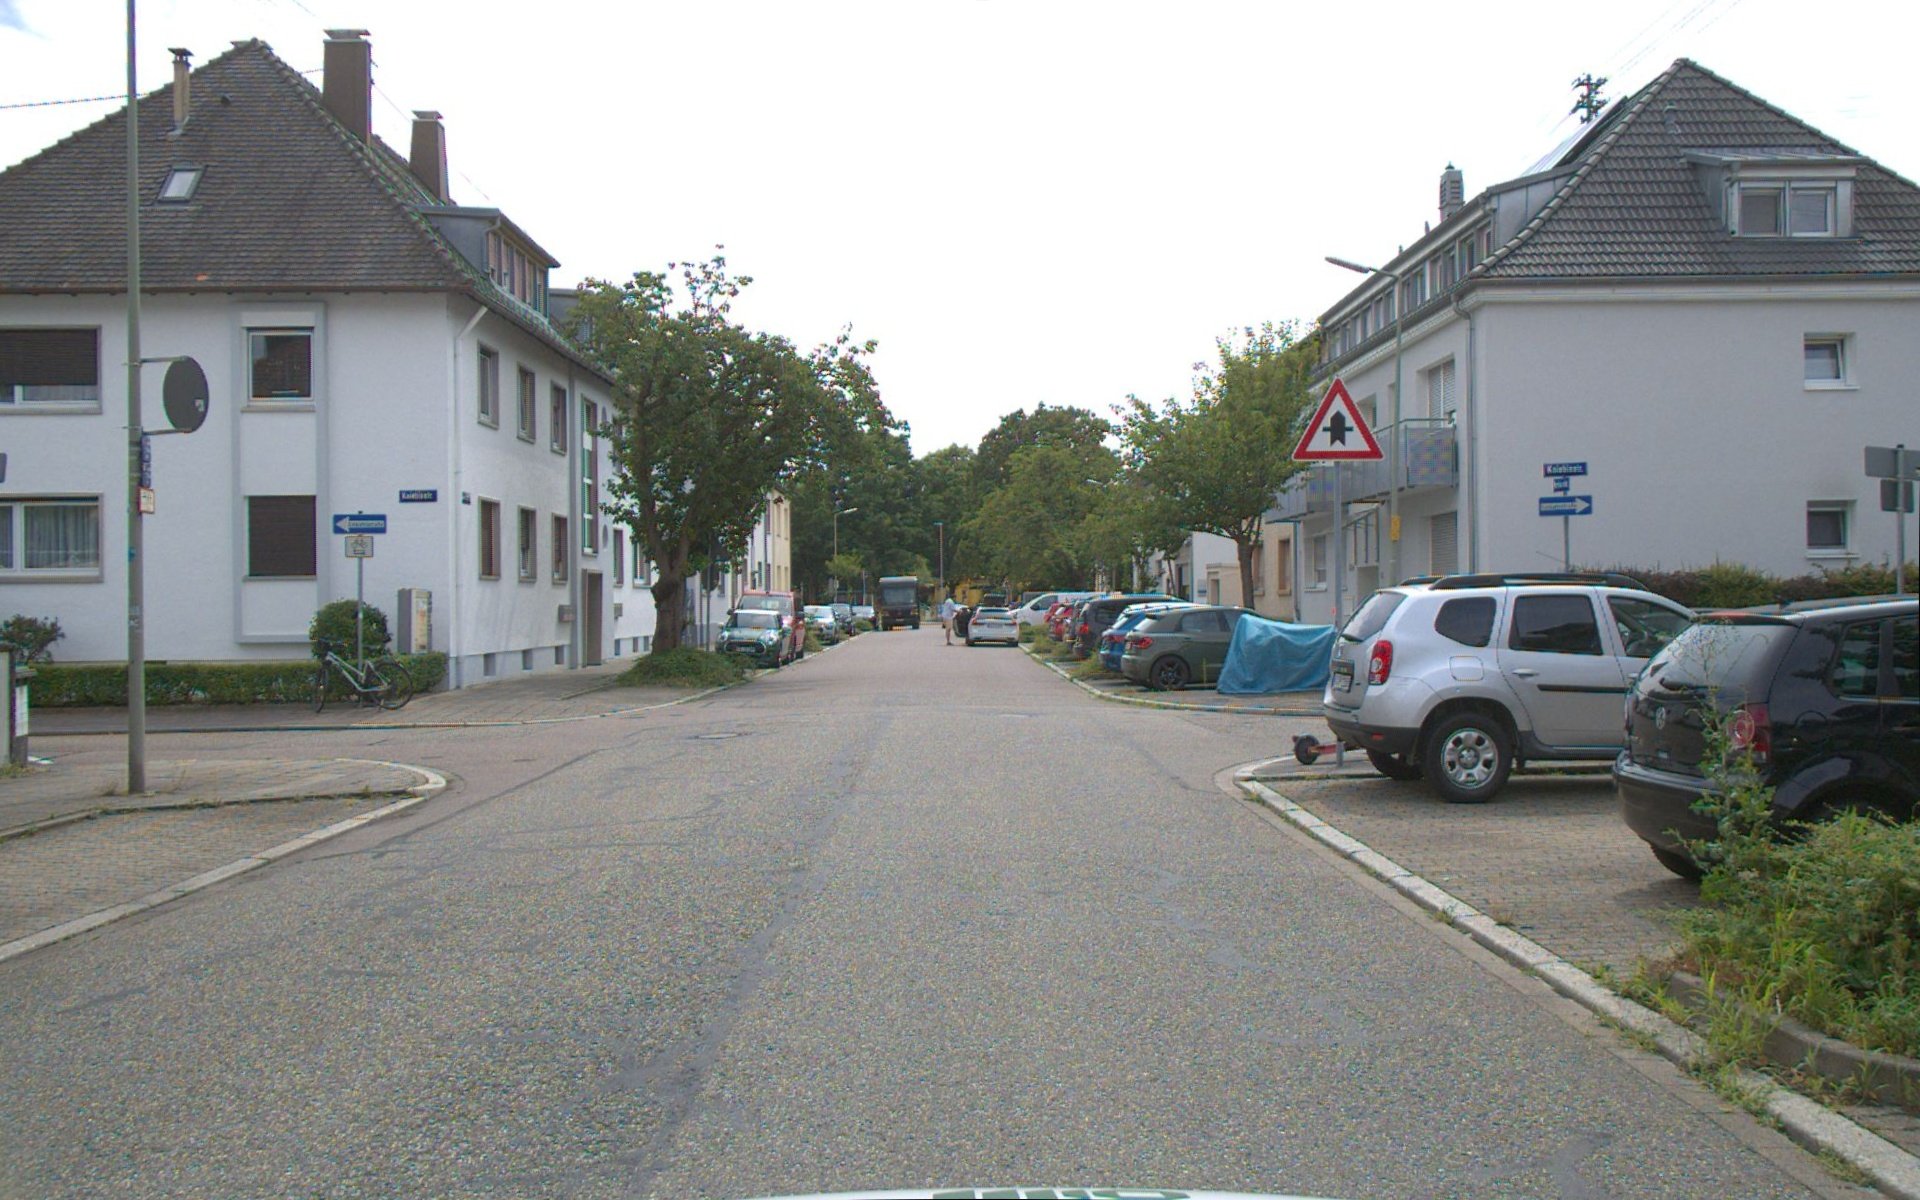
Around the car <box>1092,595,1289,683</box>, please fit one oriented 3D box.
[{"bbox_3d":[4.309,0.716,31.231,3.446,1.437,1.558,-3,0,0],"label":"car"}]

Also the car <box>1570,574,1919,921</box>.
[{"bbox_3d":[5.280,0.576,8.092,3.906,1.446,1.712,-3,0,0],"label":"car"}]

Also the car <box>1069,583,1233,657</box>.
[{"bbox_3d":[4.800,0.498,41.983,3.905,1.646,1.867,-3,0,0],"label":"car"}]

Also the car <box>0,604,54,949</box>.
[{"bbox_3d":[-5.147,0.814,5.400,1.839,1.512,4.512,-3,0,0],"label":"car"}]

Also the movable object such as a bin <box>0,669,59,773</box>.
[{"bbox_3d":[-8.749,1.120,15.370,0.476,0.922,0.475,-3,0,-7],"label":"movable object such as a bin"}]

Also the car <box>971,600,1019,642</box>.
[{"bbox_3d":[1.282,0.751,60.548,1.652,1.377,3.827,-3,0,1],"label":"car"}]

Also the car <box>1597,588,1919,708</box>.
[{"bbox_3d":[10.709,0.620,22.117,3.724,1.468,1.663,-1,0,0],"label":"car"}]

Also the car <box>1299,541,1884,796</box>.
[{"bbox_3d":[4.850,0.501,13.098,3.845,1.661,1.867,-3,0,-3],"label":"car"}]

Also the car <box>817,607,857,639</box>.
[{"bbox_3d":[-5.941,1.091,80.040,1.618,1.401,3.721,-3,0,-1],"label":"car"}]

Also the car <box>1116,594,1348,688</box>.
[{"bbox_3d":[4.630,0.691,28.572,3.671,1.389,1.773,-3,0,0],"label":"car"}]

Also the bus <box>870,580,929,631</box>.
[{"bbox_3d":[-3.592,0.316,100.313,2.942,2.809,8.924,-3,0,1],"label":"bus"}]

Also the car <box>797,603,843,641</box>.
[{"bbox_3d":[-5.586,0.879,66.458,1.618,1.401,3.719,-3,0,-3],"label":"car"}]

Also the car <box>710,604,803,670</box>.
[{"bbox_3d":[-5.292,0.934,43.443,1.726,1.581,3.732,-3,0,3],"label":"car"}]

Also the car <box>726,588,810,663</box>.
[{"bbox_3d":[-5.589,0.719,48.664,1.953,2.049,4.519,-1,0,-1],"label":"car"}]

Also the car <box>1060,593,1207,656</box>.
[{"bbox_3d":[4.883,0.674,46.836,3.906,1.545,1.722,-3,0,-1],"label":"car"}]

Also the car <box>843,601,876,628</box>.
[{"bbox_3d":[-6.025,0.854,99.653,1.588,1.528,4.000,-3,0,1],"label":"car"}]

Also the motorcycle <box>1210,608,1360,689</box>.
[{"bbox_3d":[5.126,0.756,26.173,2.149,1.232,0.939,-1,0,-2],"label":"motorcycle"}]

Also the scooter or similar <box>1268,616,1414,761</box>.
[{"bbox_3d":[3.556,0.812,15.436,1.217,1.265,0.421,-3,0,-13],"label":"scooter or similar"}]

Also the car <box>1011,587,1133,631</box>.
[{"bbox_3d":[4.642,0.378,68.959,4.875,1.545,1.768,-3,0,-2],"label":"car"}]

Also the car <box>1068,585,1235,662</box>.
[{"bbox_3d":[4.465,0.542,38.967,3.671,1.591,1.773,-3,0,0],"label":"car"}]

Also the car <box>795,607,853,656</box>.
[{"bbox_3d":[-4.483,1.009,54.885,1.618,1.487,3.551,-3,0,-1],"label":"car"}]

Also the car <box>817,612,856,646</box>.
[{"bbox_3d":[-5.312,1.227,71.519,1.508,1.324,3.719,-3,0,-3],"label":"car"}]

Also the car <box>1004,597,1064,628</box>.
[{"bbox_3d":[4.353,0.757,97.990,3.457,1.630,1.773,-3,0,0],"label":"car"}]

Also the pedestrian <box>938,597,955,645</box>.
[{"bbox_3d":[-0.478,0.754,59.894,0.511,1.734,0.445,-3,0,3],"label":"pedestrian"}]

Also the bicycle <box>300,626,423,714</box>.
[{"bbox_3d":[-8.840,1.026,24.456,1.601,1.200,0.435,-3,0,-5],"label":"bicycle"}]

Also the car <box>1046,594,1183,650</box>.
[{"bbox_3d":[4.640,0.651,50.055,3.906,1.464,1.722,-3,0,-1],"label":"car"}]

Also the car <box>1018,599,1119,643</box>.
[{"bbox_3d":[4.357,0.833,66.664,3.906,1.545,1.722,-3,0,-1],"label":"car"}]
